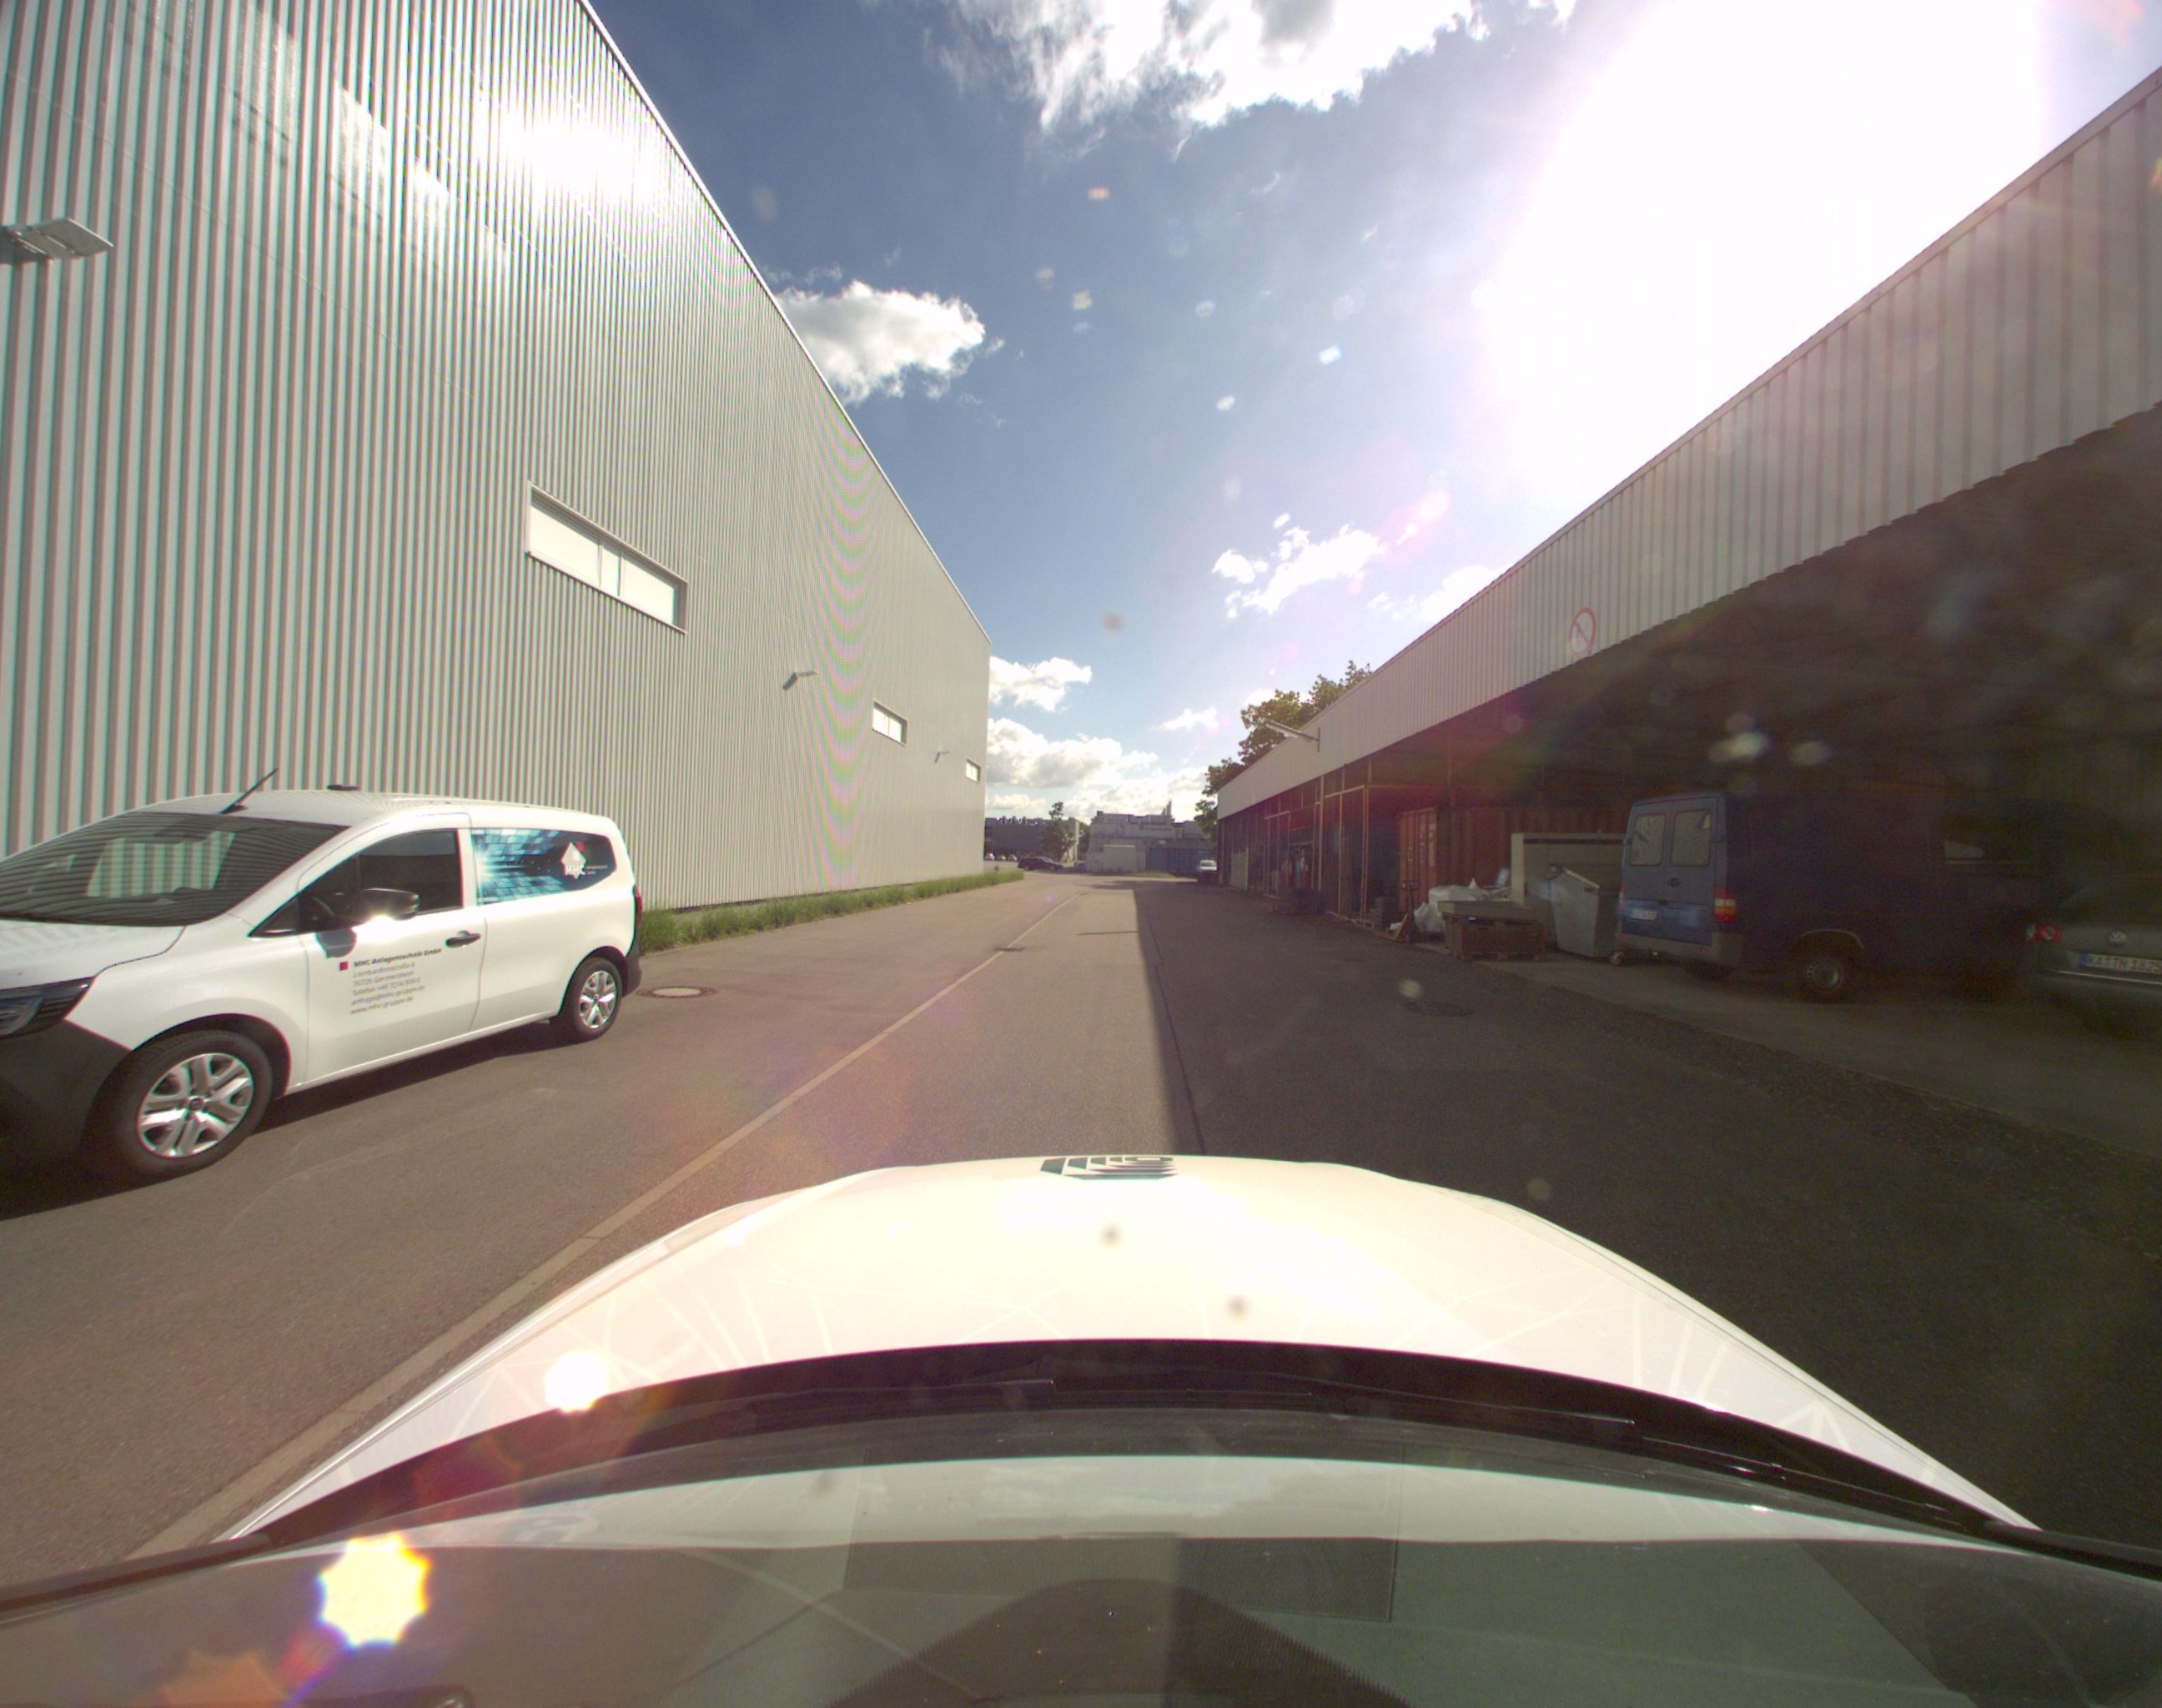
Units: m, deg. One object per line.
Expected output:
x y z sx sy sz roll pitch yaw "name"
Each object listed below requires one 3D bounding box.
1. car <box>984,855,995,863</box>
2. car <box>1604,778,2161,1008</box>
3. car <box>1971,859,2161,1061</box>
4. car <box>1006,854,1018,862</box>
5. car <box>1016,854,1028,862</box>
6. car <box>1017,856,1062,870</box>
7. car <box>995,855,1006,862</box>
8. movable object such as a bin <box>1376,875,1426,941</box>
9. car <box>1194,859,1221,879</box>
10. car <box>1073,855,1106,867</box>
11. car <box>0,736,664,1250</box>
-20.734 1.058 185.111 1.985 1.736 4.002 0 -1 2 "car"
9.264 0.405 9.537 4.958 2.325 2.002 1 -1 3 "car"
9.886 0.802 6.313 3.971 1.472 1.789 1 0 2 "car"
-15.676 1.004 184.898 2.185 1.736 4.002 0 -1 2 "car"
-13.225 0.939 183.085 2.185 1.736 4.002 0 -1 2 "car"
-4.419 0.953 87.156 4.505 1.508 1.911 1 0 4 "car"
-18.268 1.042 184.658 1.985 1.736 4.002 0 -1 2 "car"
6.016 0.998 15.351 0.578 1.164 1.240 0 0 7 "movable object such as a bin"
11.442 1.317 73.730 1.985 1.585 4.176 1 1 2 "car"
1.232 0.961 114.567 4.506 1.508 1.911 1 0 3 "car"
-4.695 0.463 4.863 1.883 1.845 4.361 3 0 3 "car"
